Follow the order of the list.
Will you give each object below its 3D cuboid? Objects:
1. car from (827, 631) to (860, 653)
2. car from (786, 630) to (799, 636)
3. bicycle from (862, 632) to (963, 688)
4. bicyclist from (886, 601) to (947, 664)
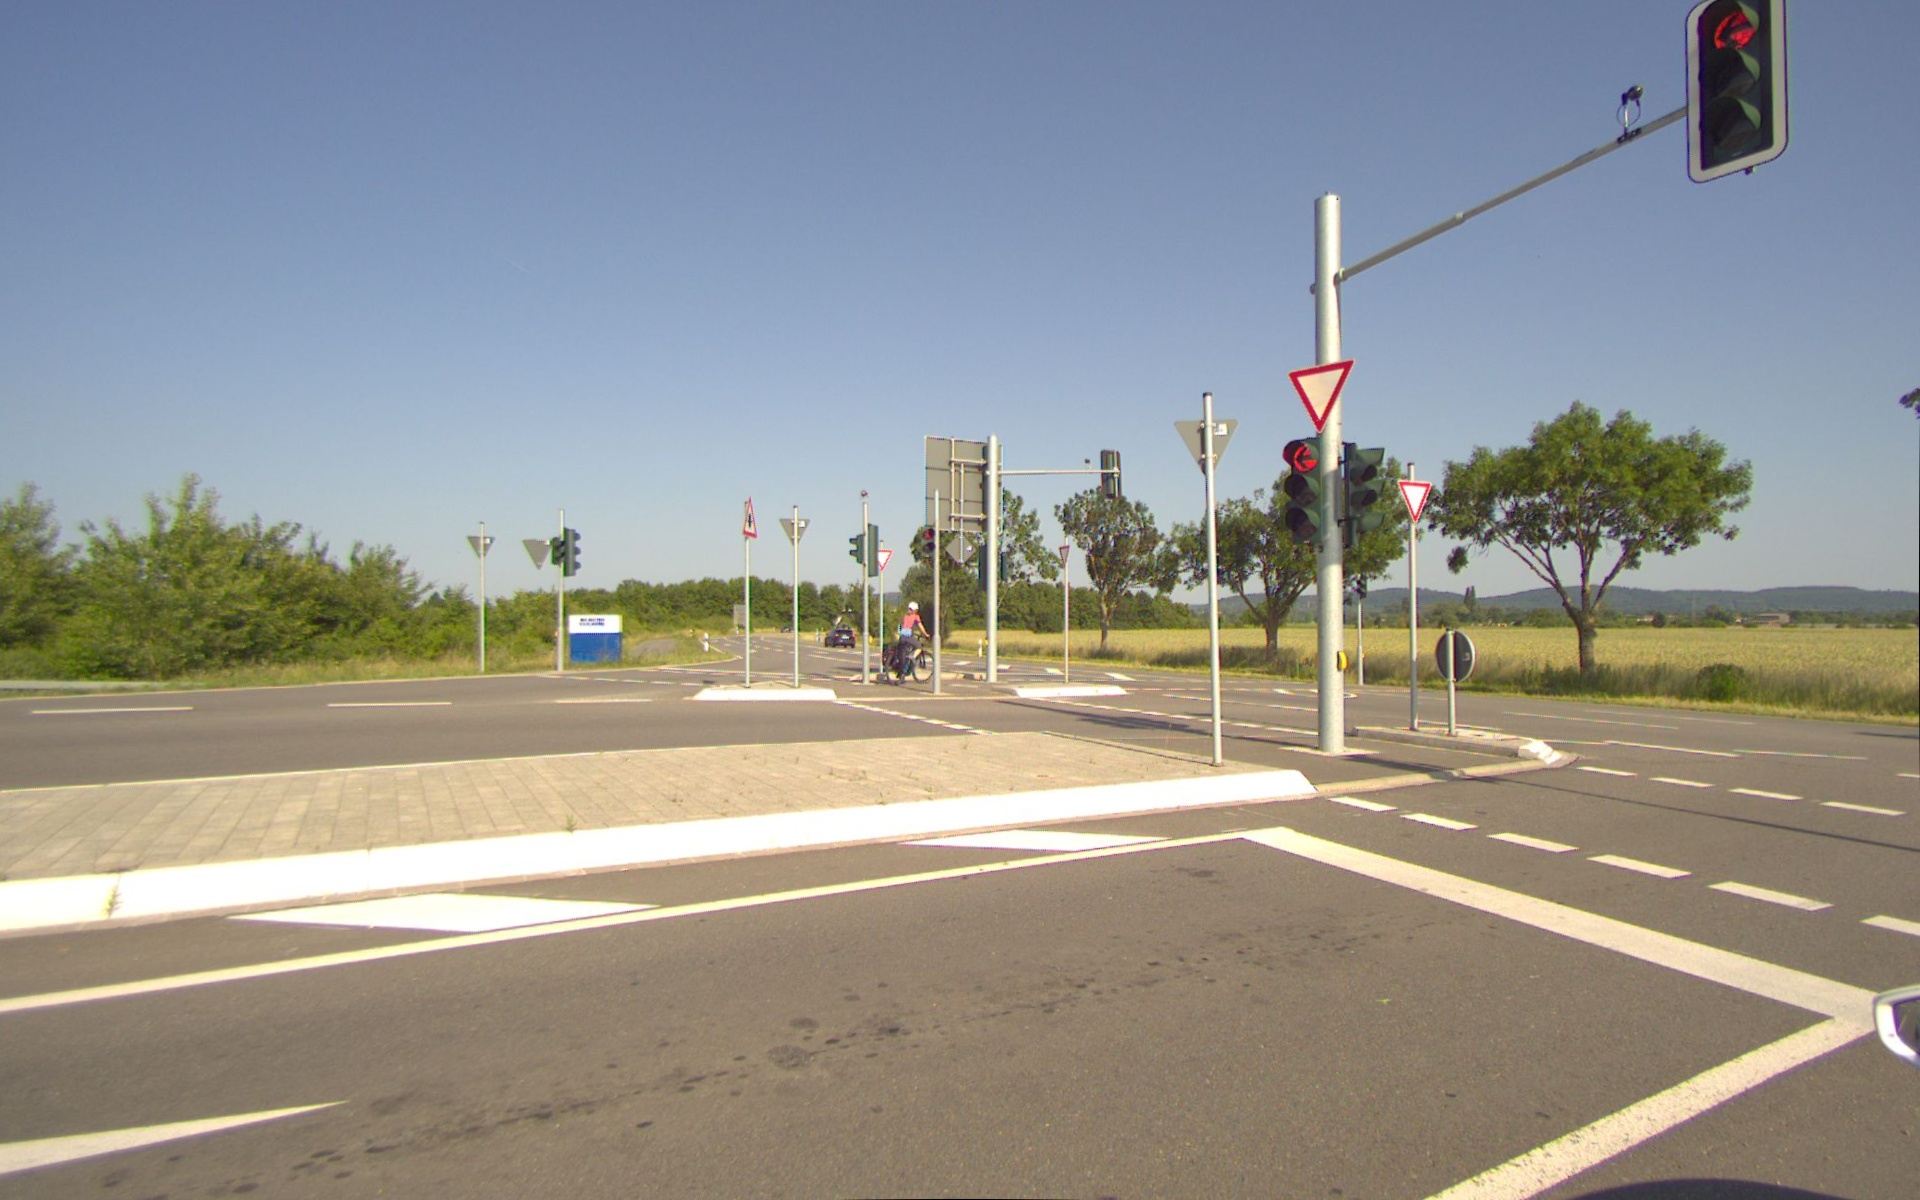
[{"bbox_3d":[-8.902,3.151,76.320,1.703,1.544,3.453,2,-1,-20],"label":"car"},{"bbox_3d":[-32.777,6.408,196.369,1.705,1.127,4.002,2,-2,3],"label":"car"},{"bbox_3d":[-1.042,1.334,22.613,1.058,1.164,2.140,1,-1,41],"label":"bicycle"},{"bbox_3d":[-0.978,0.735,22.682,0.846,1.369,1.069,1,-1,41],"label":"bicyclist"}]
